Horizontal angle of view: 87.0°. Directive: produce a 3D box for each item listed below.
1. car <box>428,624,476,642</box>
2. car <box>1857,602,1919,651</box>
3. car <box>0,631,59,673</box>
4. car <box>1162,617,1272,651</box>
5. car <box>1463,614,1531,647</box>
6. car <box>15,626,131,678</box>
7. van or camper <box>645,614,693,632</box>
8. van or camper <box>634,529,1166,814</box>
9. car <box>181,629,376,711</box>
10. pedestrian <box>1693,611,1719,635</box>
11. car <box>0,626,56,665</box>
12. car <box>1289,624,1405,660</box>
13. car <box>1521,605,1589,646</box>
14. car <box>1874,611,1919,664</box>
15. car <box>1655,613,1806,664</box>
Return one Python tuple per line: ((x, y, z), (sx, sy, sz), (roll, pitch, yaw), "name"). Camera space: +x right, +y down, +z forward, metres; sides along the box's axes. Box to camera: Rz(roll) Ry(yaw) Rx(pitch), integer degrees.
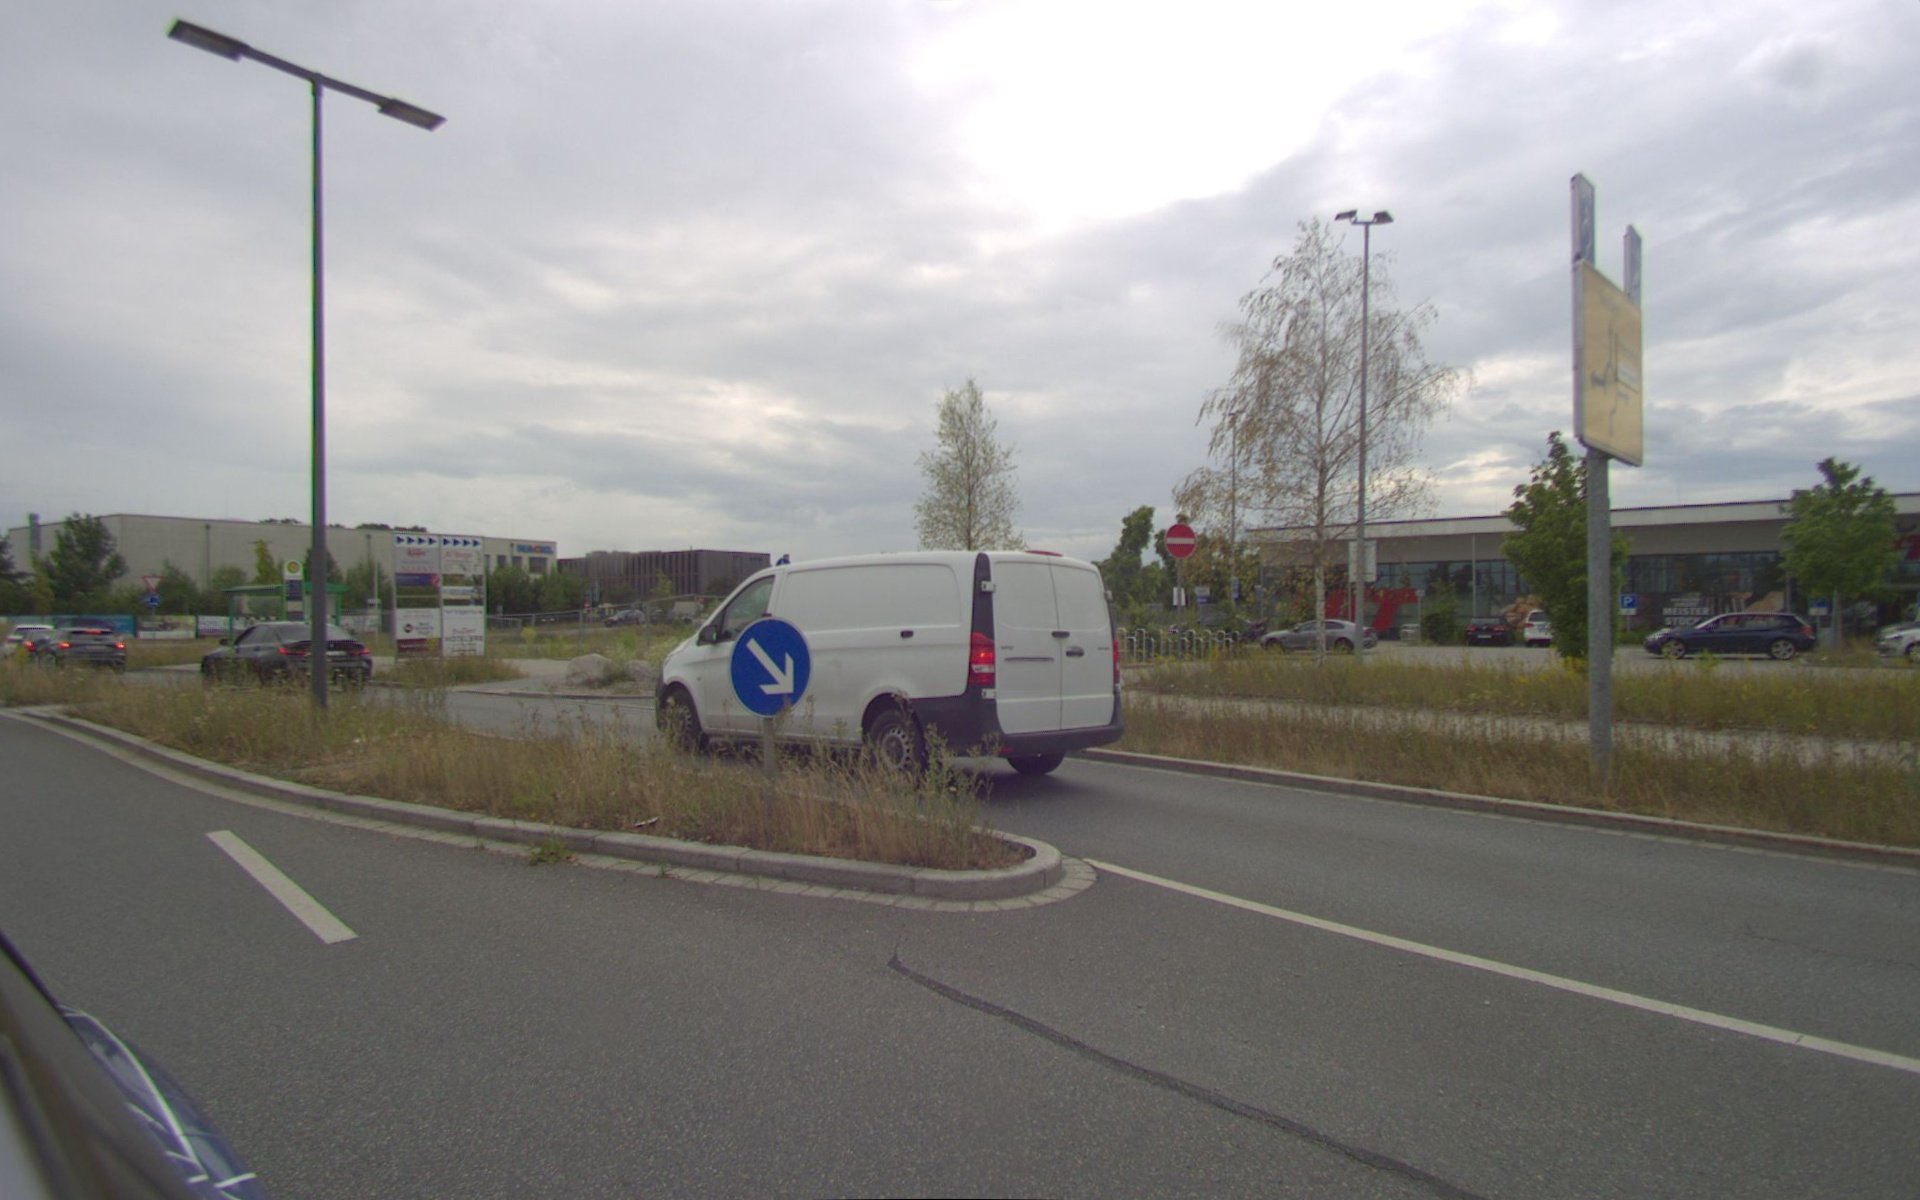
((-41.048, 2.625, 81.849), (1.695, 1.353, 4.062), (0, -1, 2), "car")
((29.646, 0.798, 30.534), (3.756, 1.465, 1.645), (-1, -1, 40), "car")
((-34.057, 1.816, 36.278), (4.363, 1.406, 1.769), (-1, -2, 36), "car")
((12.836, 1.665, 50.700), (5.014, 1.569, 1.976), (0, -1, 36), "car")
((25.010, 1.372, 47.062), (1.912, 1.455, 3.944), (-1, -1, 42), "car")
((-27.840, 1.574, 31.718), (4.310, 1.478, 1.776), (-1, -1, 35), "car")
((-29.586, 2.323, 103.033), (1.995, 1.762, 4.519), (0, -1, 34), "van or camper")
((-0.849, 0.554, 9.387), (5.206, 1.926, 1.971), (-1, -3, 45), "van or camper")
((-13.972, 1.342, 20.667), (4.599, 1.456, 1.765), (-1, 0, 35), "car")
((36.495, 1.134, 49.511), (0.972, 1.163, 1.118), (-1, -1, 38), "pedestrian")
((-38.876, 1.838, 41.619), (4.048, 1.492, 1.737), (0, -1, 36), "car")
((15.609, 1.668, 40.881), (3.994, 1.362, 1.975), (0, -1, 38), "car")
((26.868, 1.134, 45.649), (1.829, 1.713, 4.175), (-1, 0, 42), "car")
((27.820, 1.034, 27.915), (3.756, 1.465, 1.645), (-1, -1, 40), "car")
((23.609, 1.142, 31.100), (3.615, 1.465, 1.646), (-1, -1, 39), "car")
